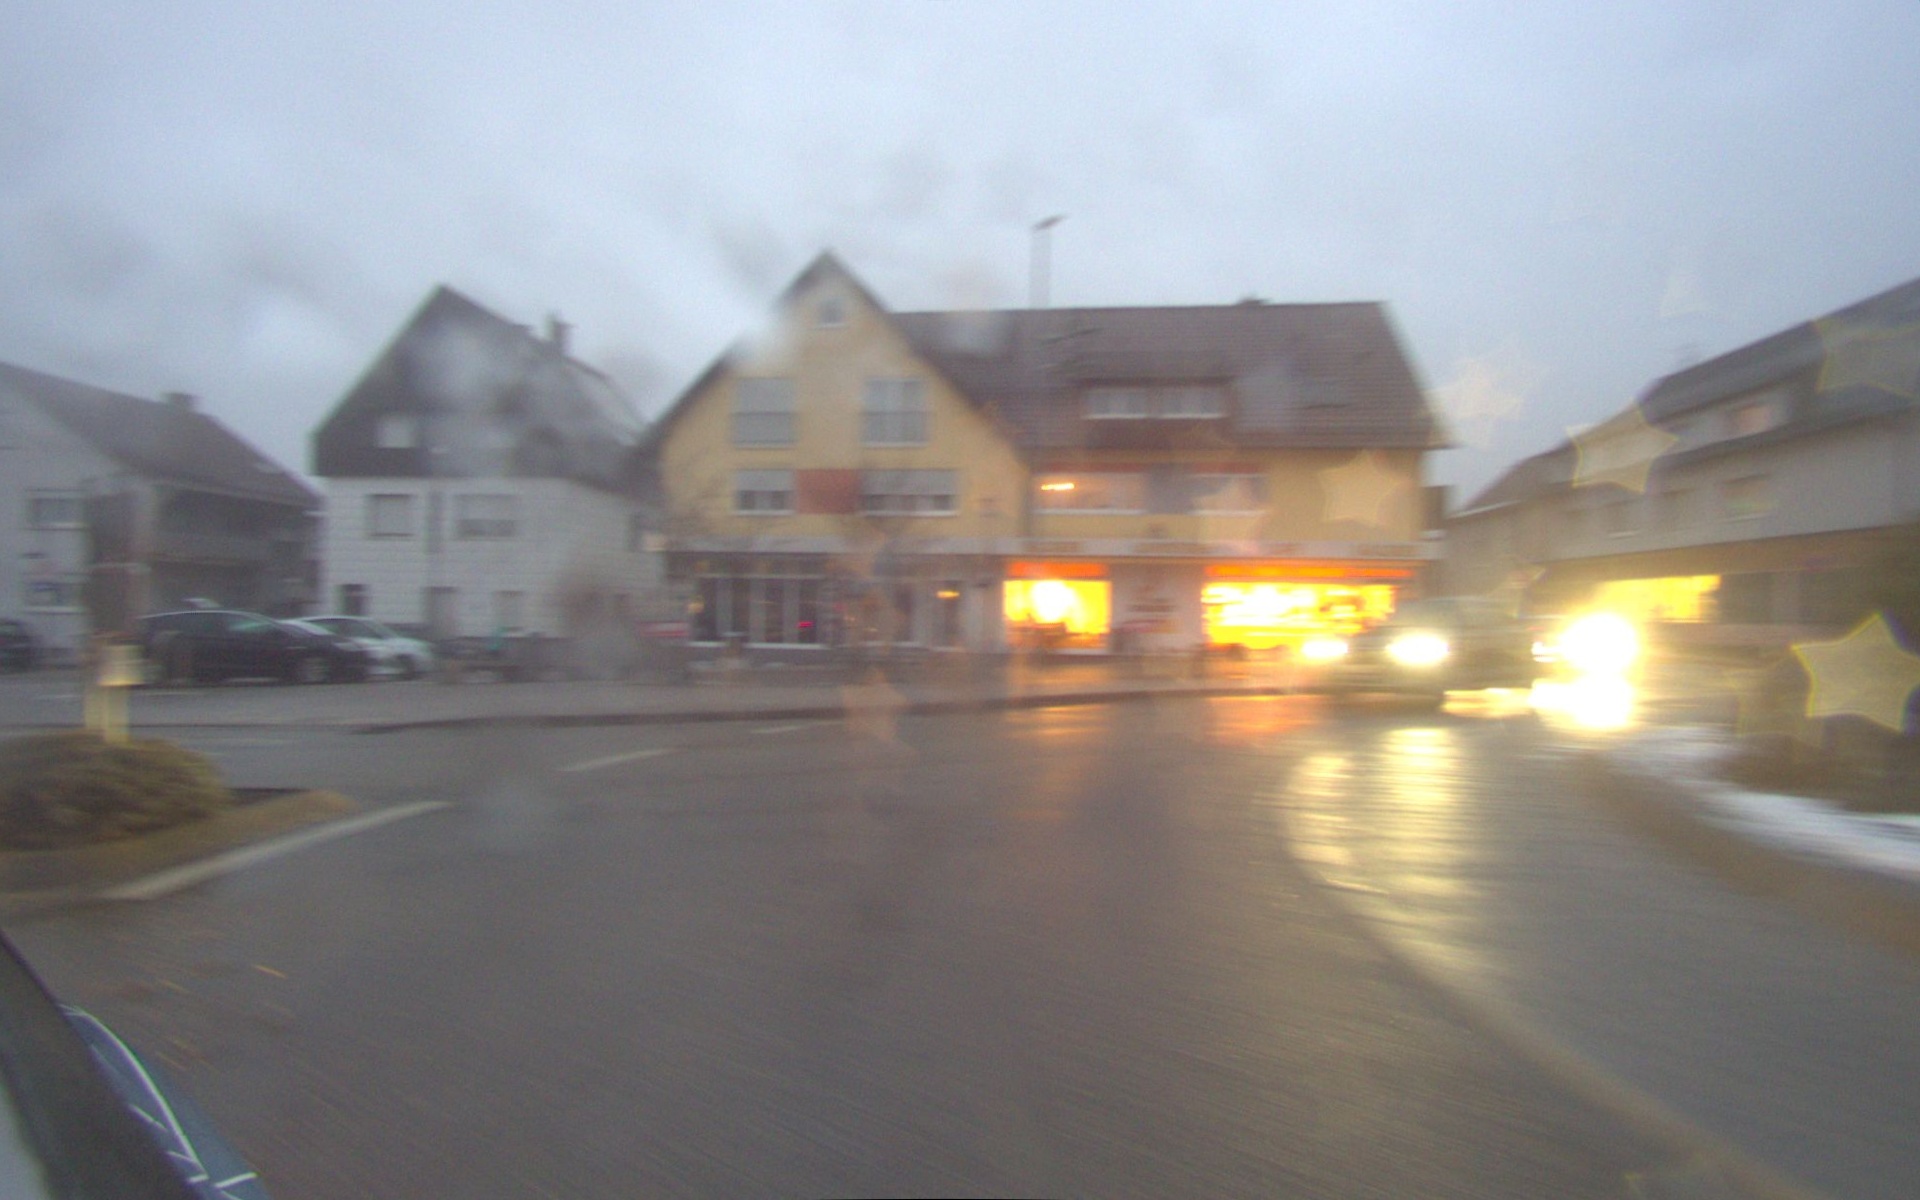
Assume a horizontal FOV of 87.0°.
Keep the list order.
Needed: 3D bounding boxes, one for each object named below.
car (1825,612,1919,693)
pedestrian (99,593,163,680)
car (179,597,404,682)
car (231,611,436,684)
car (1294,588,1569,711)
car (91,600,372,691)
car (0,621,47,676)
[{"bbox_3d":[20.538,1.090,21.100,1.627,1.649,3.902,0,-1,0],"label":"car"},{"bbox_3d":[-16.892,0.747,20.634,0.827,1.725,0.726,1,-3,-25],"label":"pedestrian"},{"bbox_3d":[-14.178,0.841,21.767,3.829,1.683,1.846,1,-3,-27],"label":"car"},{"bbox_3d":[-14.897,1.120,24.323,3.930,1.644,1.770,0,-3,-23],"label":"car"},{"bbox_3d":[7.270,0.686,15.429,4.558,1.605,1.958,0,-2,-39],"label":"car"},{"bbox_3d":[-13.514,0.806,19.126,4.109,1.542,1.920,1,-1,-31],"label":"car"},{"bbox_3d":[-30.284,1.436,30.483,4.038,1.581,1.779,0,0,2],"label":"car"}]
